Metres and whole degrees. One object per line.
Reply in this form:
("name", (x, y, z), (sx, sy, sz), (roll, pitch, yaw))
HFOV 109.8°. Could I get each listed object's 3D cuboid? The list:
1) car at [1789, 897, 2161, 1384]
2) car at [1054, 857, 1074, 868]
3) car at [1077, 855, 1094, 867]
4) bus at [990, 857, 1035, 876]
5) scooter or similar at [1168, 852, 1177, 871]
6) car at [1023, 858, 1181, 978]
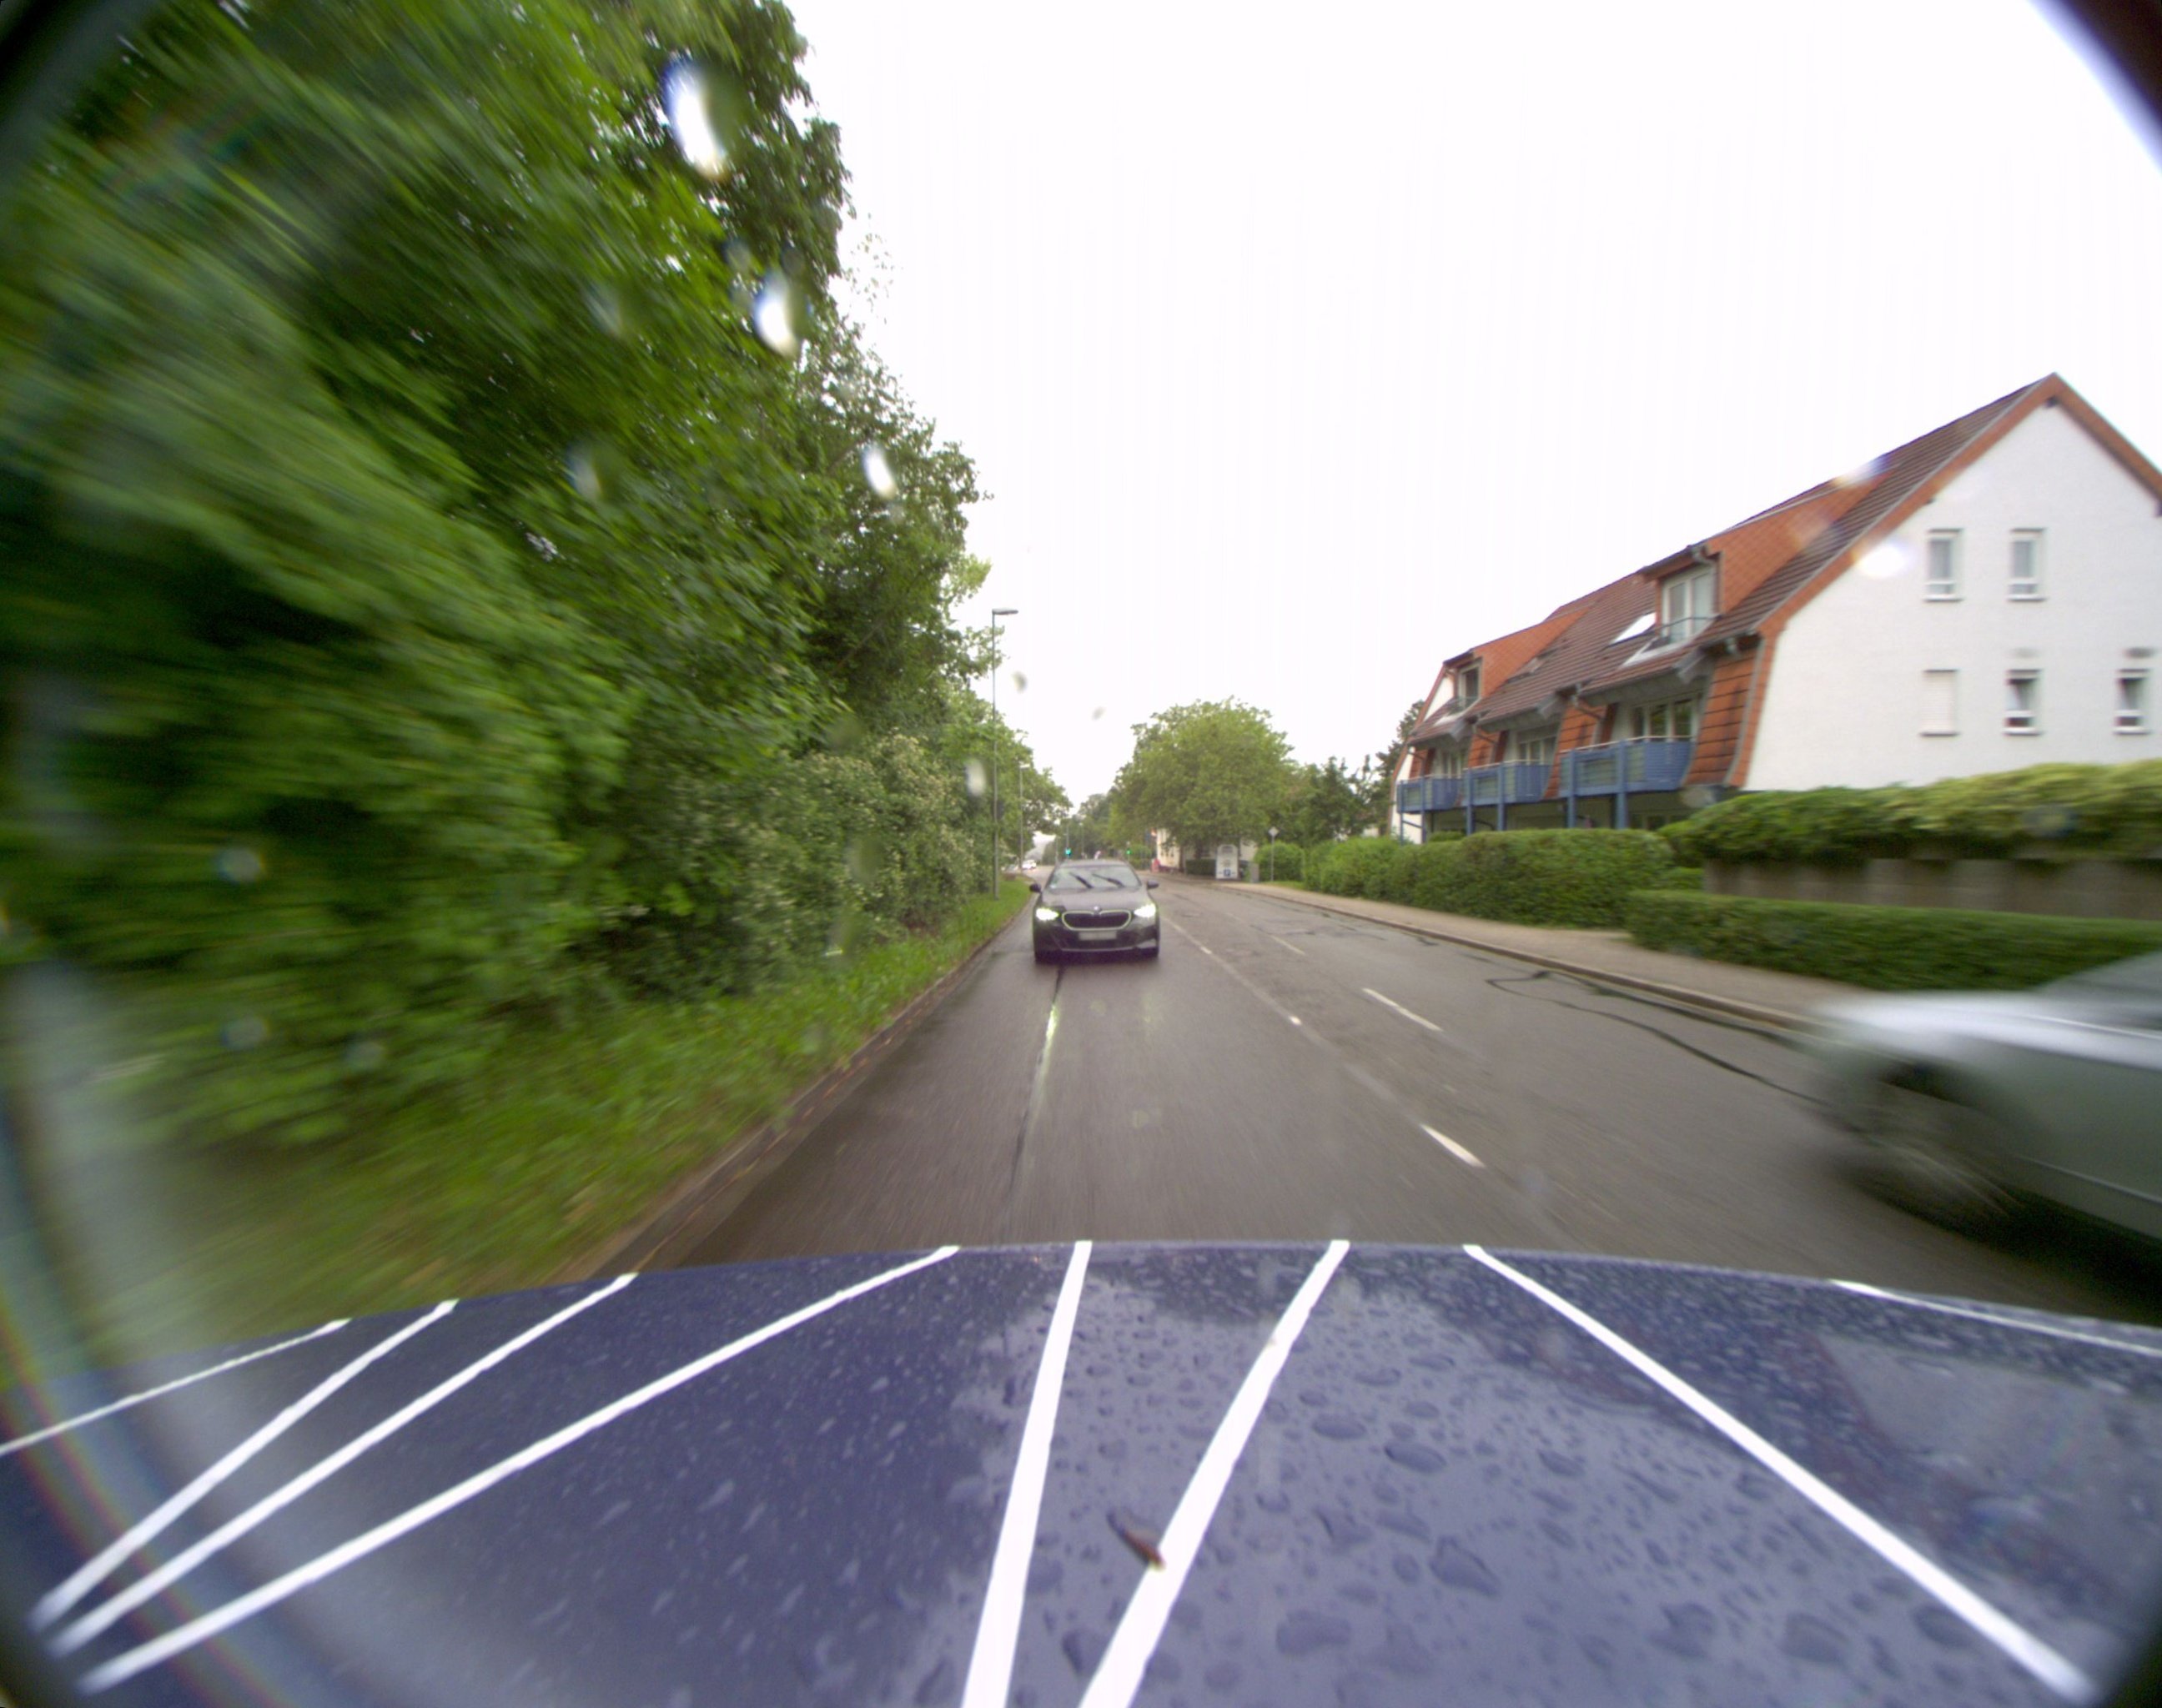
("car", (4.250, 0.934, 1.329), (1.998, 1.412, 4.487), (1, 0, 4))
("car", (-2.639, 1.269, 116.481), (2.001, 1.652, 4.298), (0, -1, -15))
("car", (0.607, 1.033, 108.254), (1.999, 1.420, 4.388), (4, -2, -3))
("bus", (-11.687, 2.123, 130.887), (2.893, 2.770, 10.401), (-3, 1, 24))
("scooter or similar", (8.486, 0.678, 70.404), (0.402, 1.765, 1.511), (-1, 1, -7))
("car", (0.146, 0.910, 12.615), (2.000, 1.586, 4.145), (-2, 0, -7))
